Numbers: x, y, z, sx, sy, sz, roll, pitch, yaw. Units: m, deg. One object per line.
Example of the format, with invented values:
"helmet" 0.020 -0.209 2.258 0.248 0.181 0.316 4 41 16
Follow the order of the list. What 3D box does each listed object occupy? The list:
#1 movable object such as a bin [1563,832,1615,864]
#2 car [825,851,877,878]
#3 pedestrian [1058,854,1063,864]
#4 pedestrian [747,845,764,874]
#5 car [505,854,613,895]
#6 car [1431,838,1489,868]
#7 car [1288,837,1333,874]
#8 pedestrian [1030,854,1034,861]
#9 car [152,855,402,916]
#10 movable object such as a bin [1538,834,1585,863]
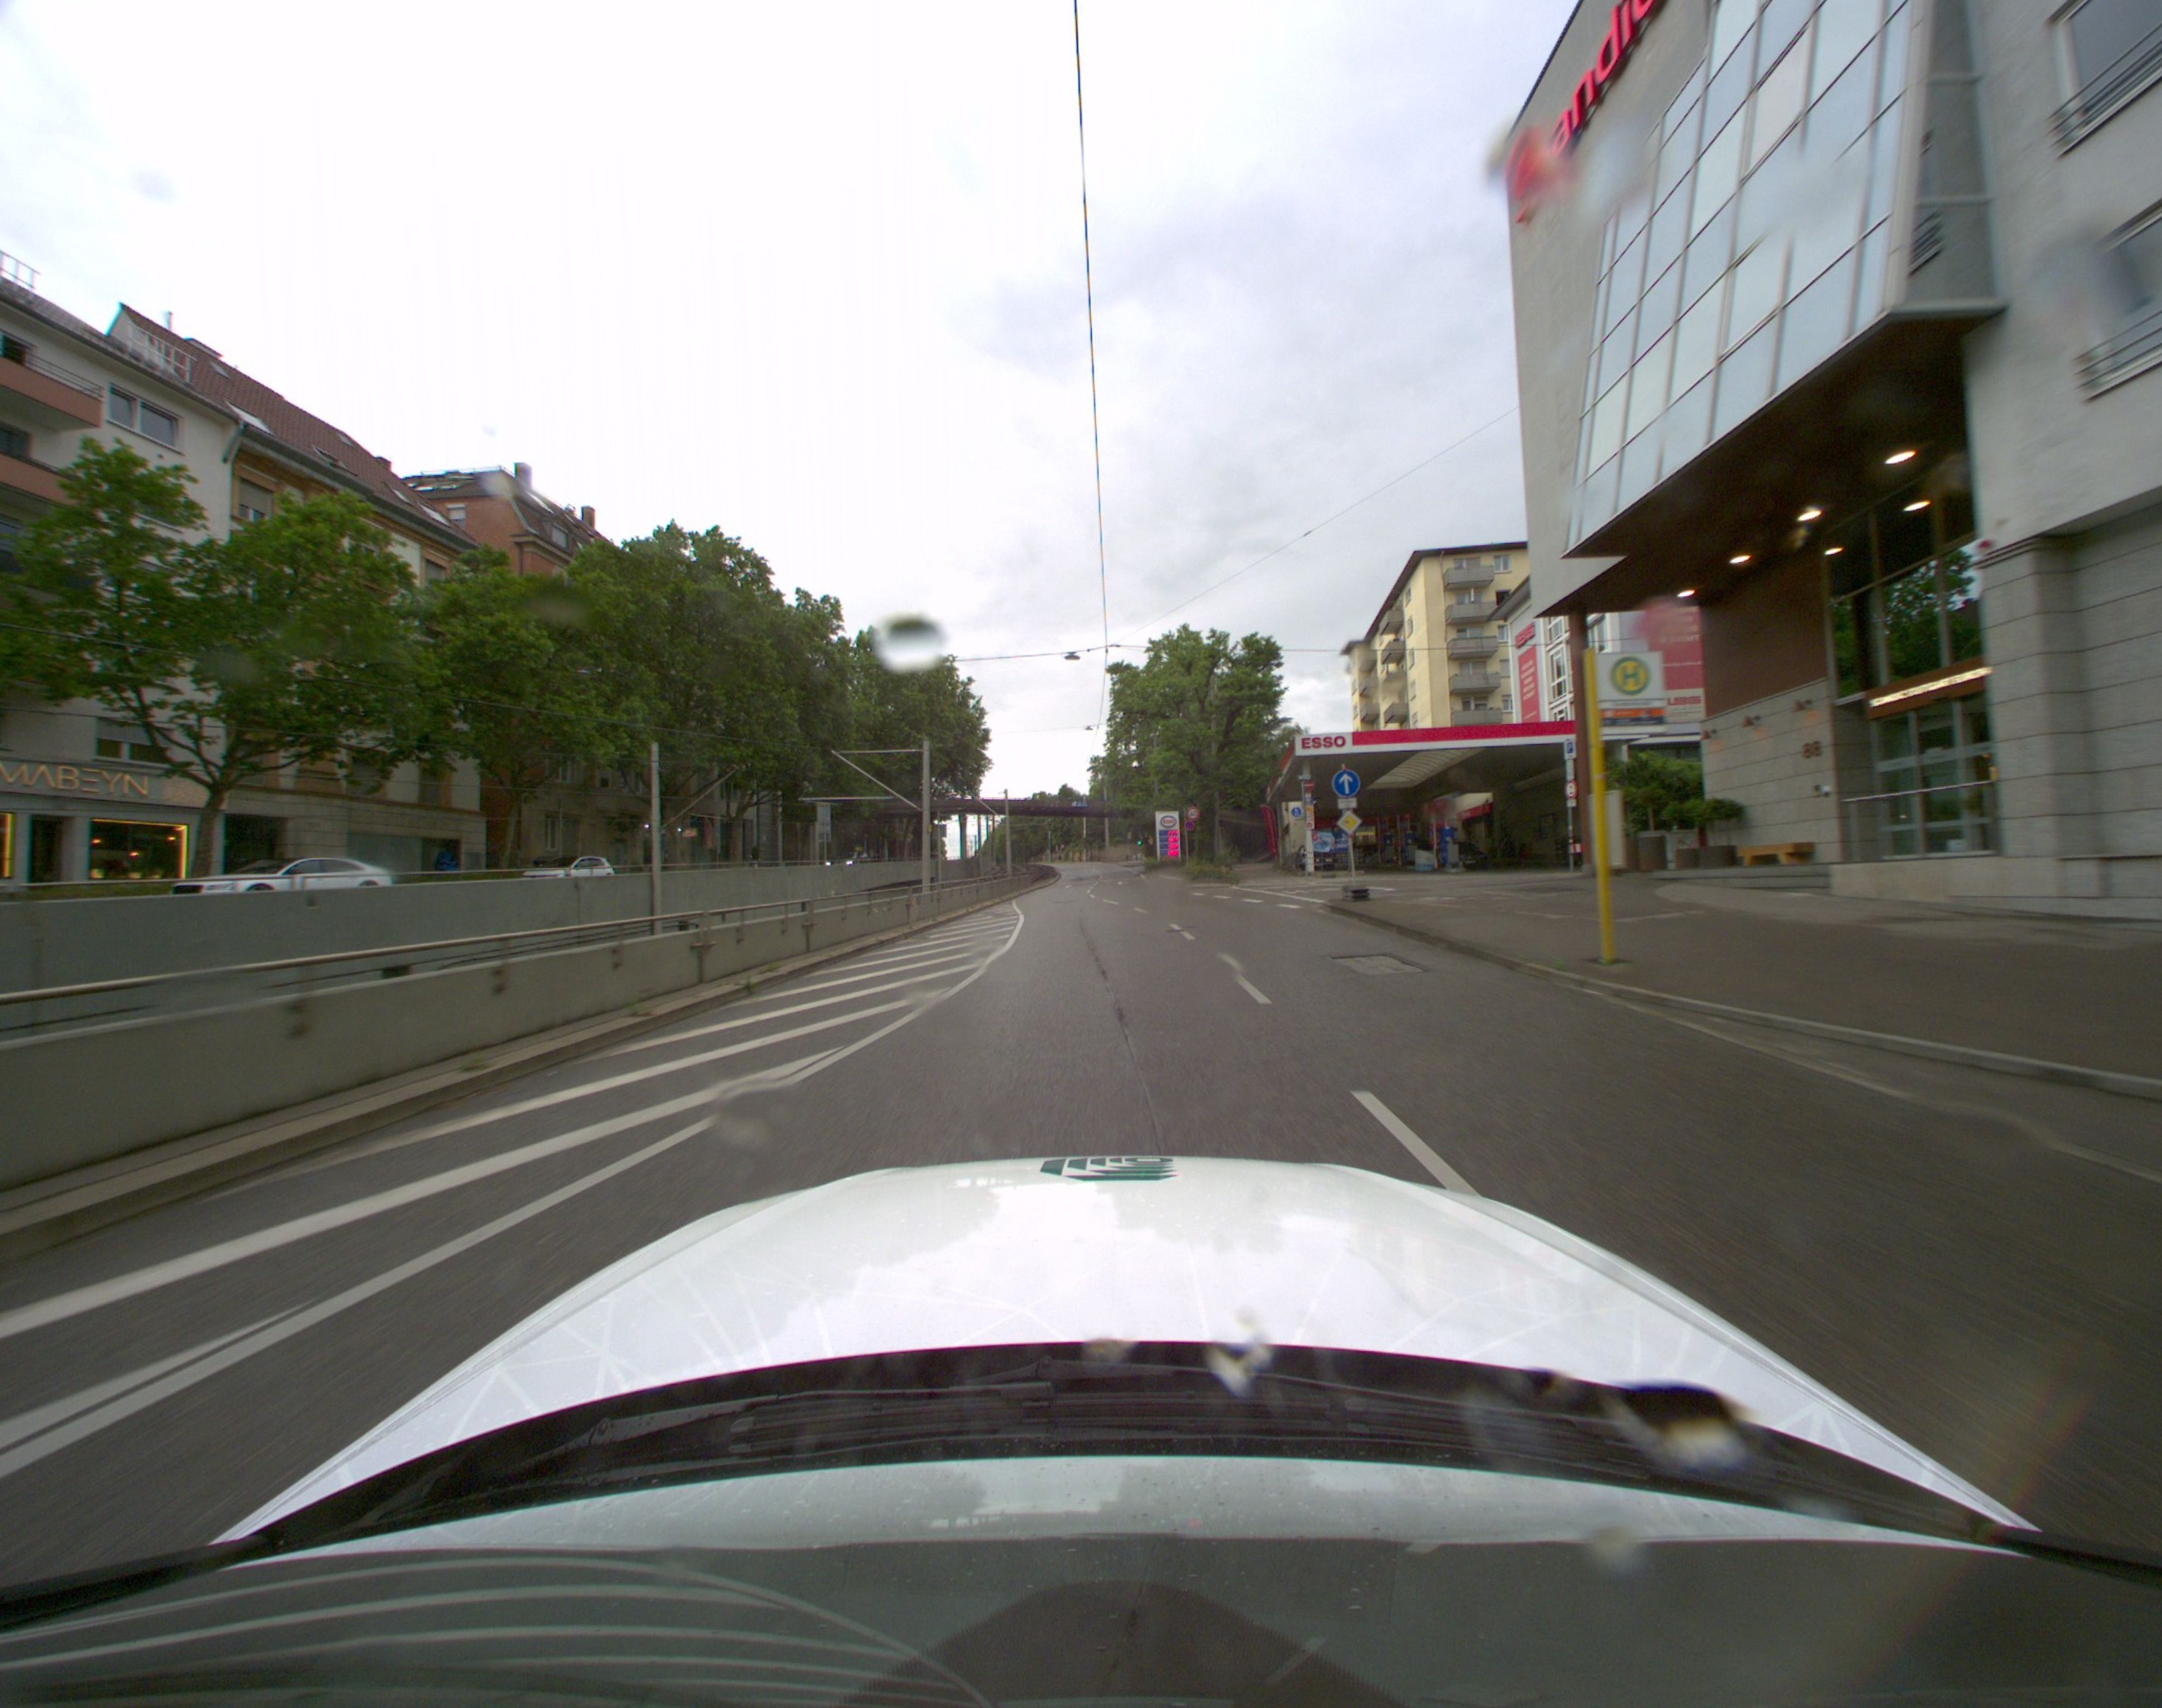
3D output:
"movable object such as a bin" 24.043 -0.286 38.611 1.156 1.425 2.514 -2 0 9
"car" -16.553 0.719 58.888 1.947 1.852 4.974 0 0 5
"pedestrian" -3.833 0.937 153.072 0.720 1.850 0.780 0 -1 -10
"pedestrian" -22.928 0.370 57.393 0.665 2.014 0.936 0 -2 6
"car" -22.160 0.830 34.794 1.786 1.611 4.116 0 0 3
"car" 20.037 -0.012 43.205 1.783 1.510 4.010 0 -1 9
"car" 11.311 0.095 40.353 1.760 1.623 3.879 -4 -1 12
"pedestrian" -11.244 0.800 186.314 0.720 1.687 0.726 0 -1 -10
"car" -23.196 0.832 23.889 1.918 1.601 5.204 0 0 4
"movable object such as a bin" 24.494 -0.279 41.587 1.156 1.425 2.514 -2 0 9
